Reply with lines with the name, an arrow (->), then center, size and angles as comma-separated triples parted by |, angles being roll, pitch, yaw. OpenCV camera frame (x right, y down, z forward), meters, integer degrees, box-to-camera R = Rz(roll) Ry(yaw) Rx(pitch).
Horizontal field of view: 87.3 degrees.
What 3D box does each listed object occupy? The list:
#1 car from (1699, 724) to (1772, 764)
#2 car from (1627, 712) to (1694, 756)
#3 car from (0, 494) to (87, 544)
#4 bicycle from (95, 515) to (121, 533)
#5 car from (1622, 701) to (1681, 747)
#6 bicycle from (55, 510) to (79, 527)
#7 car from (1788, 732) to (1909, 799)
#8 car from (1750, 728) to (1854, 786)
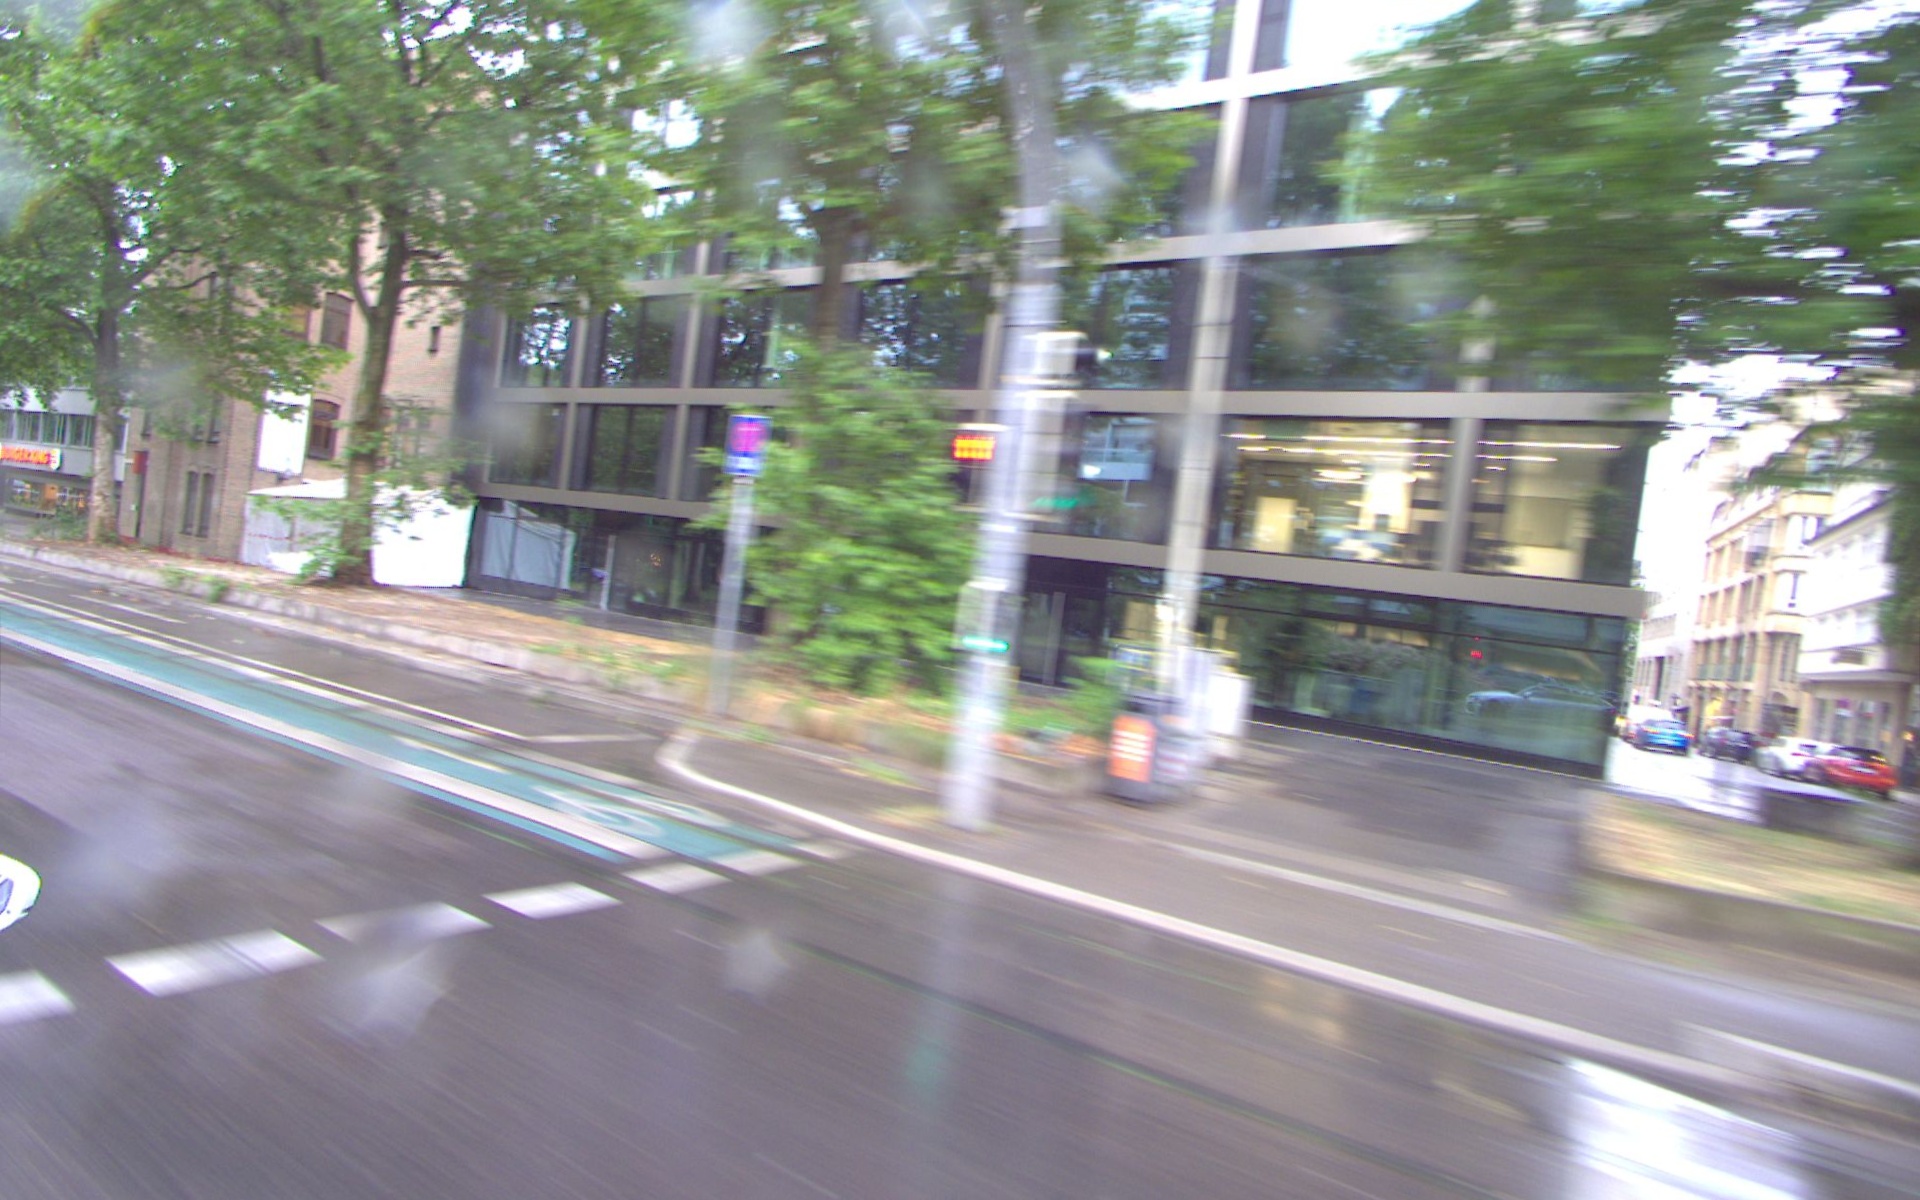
car -> 34.705, 6.414, 45.120 | 1.814, 1.402, 3.998 | 6, -3, 29
car -> 29.752, 5.669, 42.843 | 1.770, 1.453, 4.057 | 6, -1, 29
car -> -26.384, -2.343, 27.938 | 2.861, 1.086, 1.446 | 9, -2, -28
bicycle -> -48.759, -4.349, 57.574 | 1.993, 0.846, 0.449 | 6, -2, 32
car -> 35.038, 6.280, 51.083 | 1.893, 1.968, 4.960 | 6, -3, 30
bicycle -> -53.553, -4.883, 60.323 | 1.993, 0.846, 0.449 | 6, -2, 32
car -> 27.431, 5.072, 31.222 | 1.814, 1.607, 3.998 | 6, -3, 29
car -> 29.373, 5.439, 35.218 | 1.754, 1.607, 3.802 | 6, -3, 26
